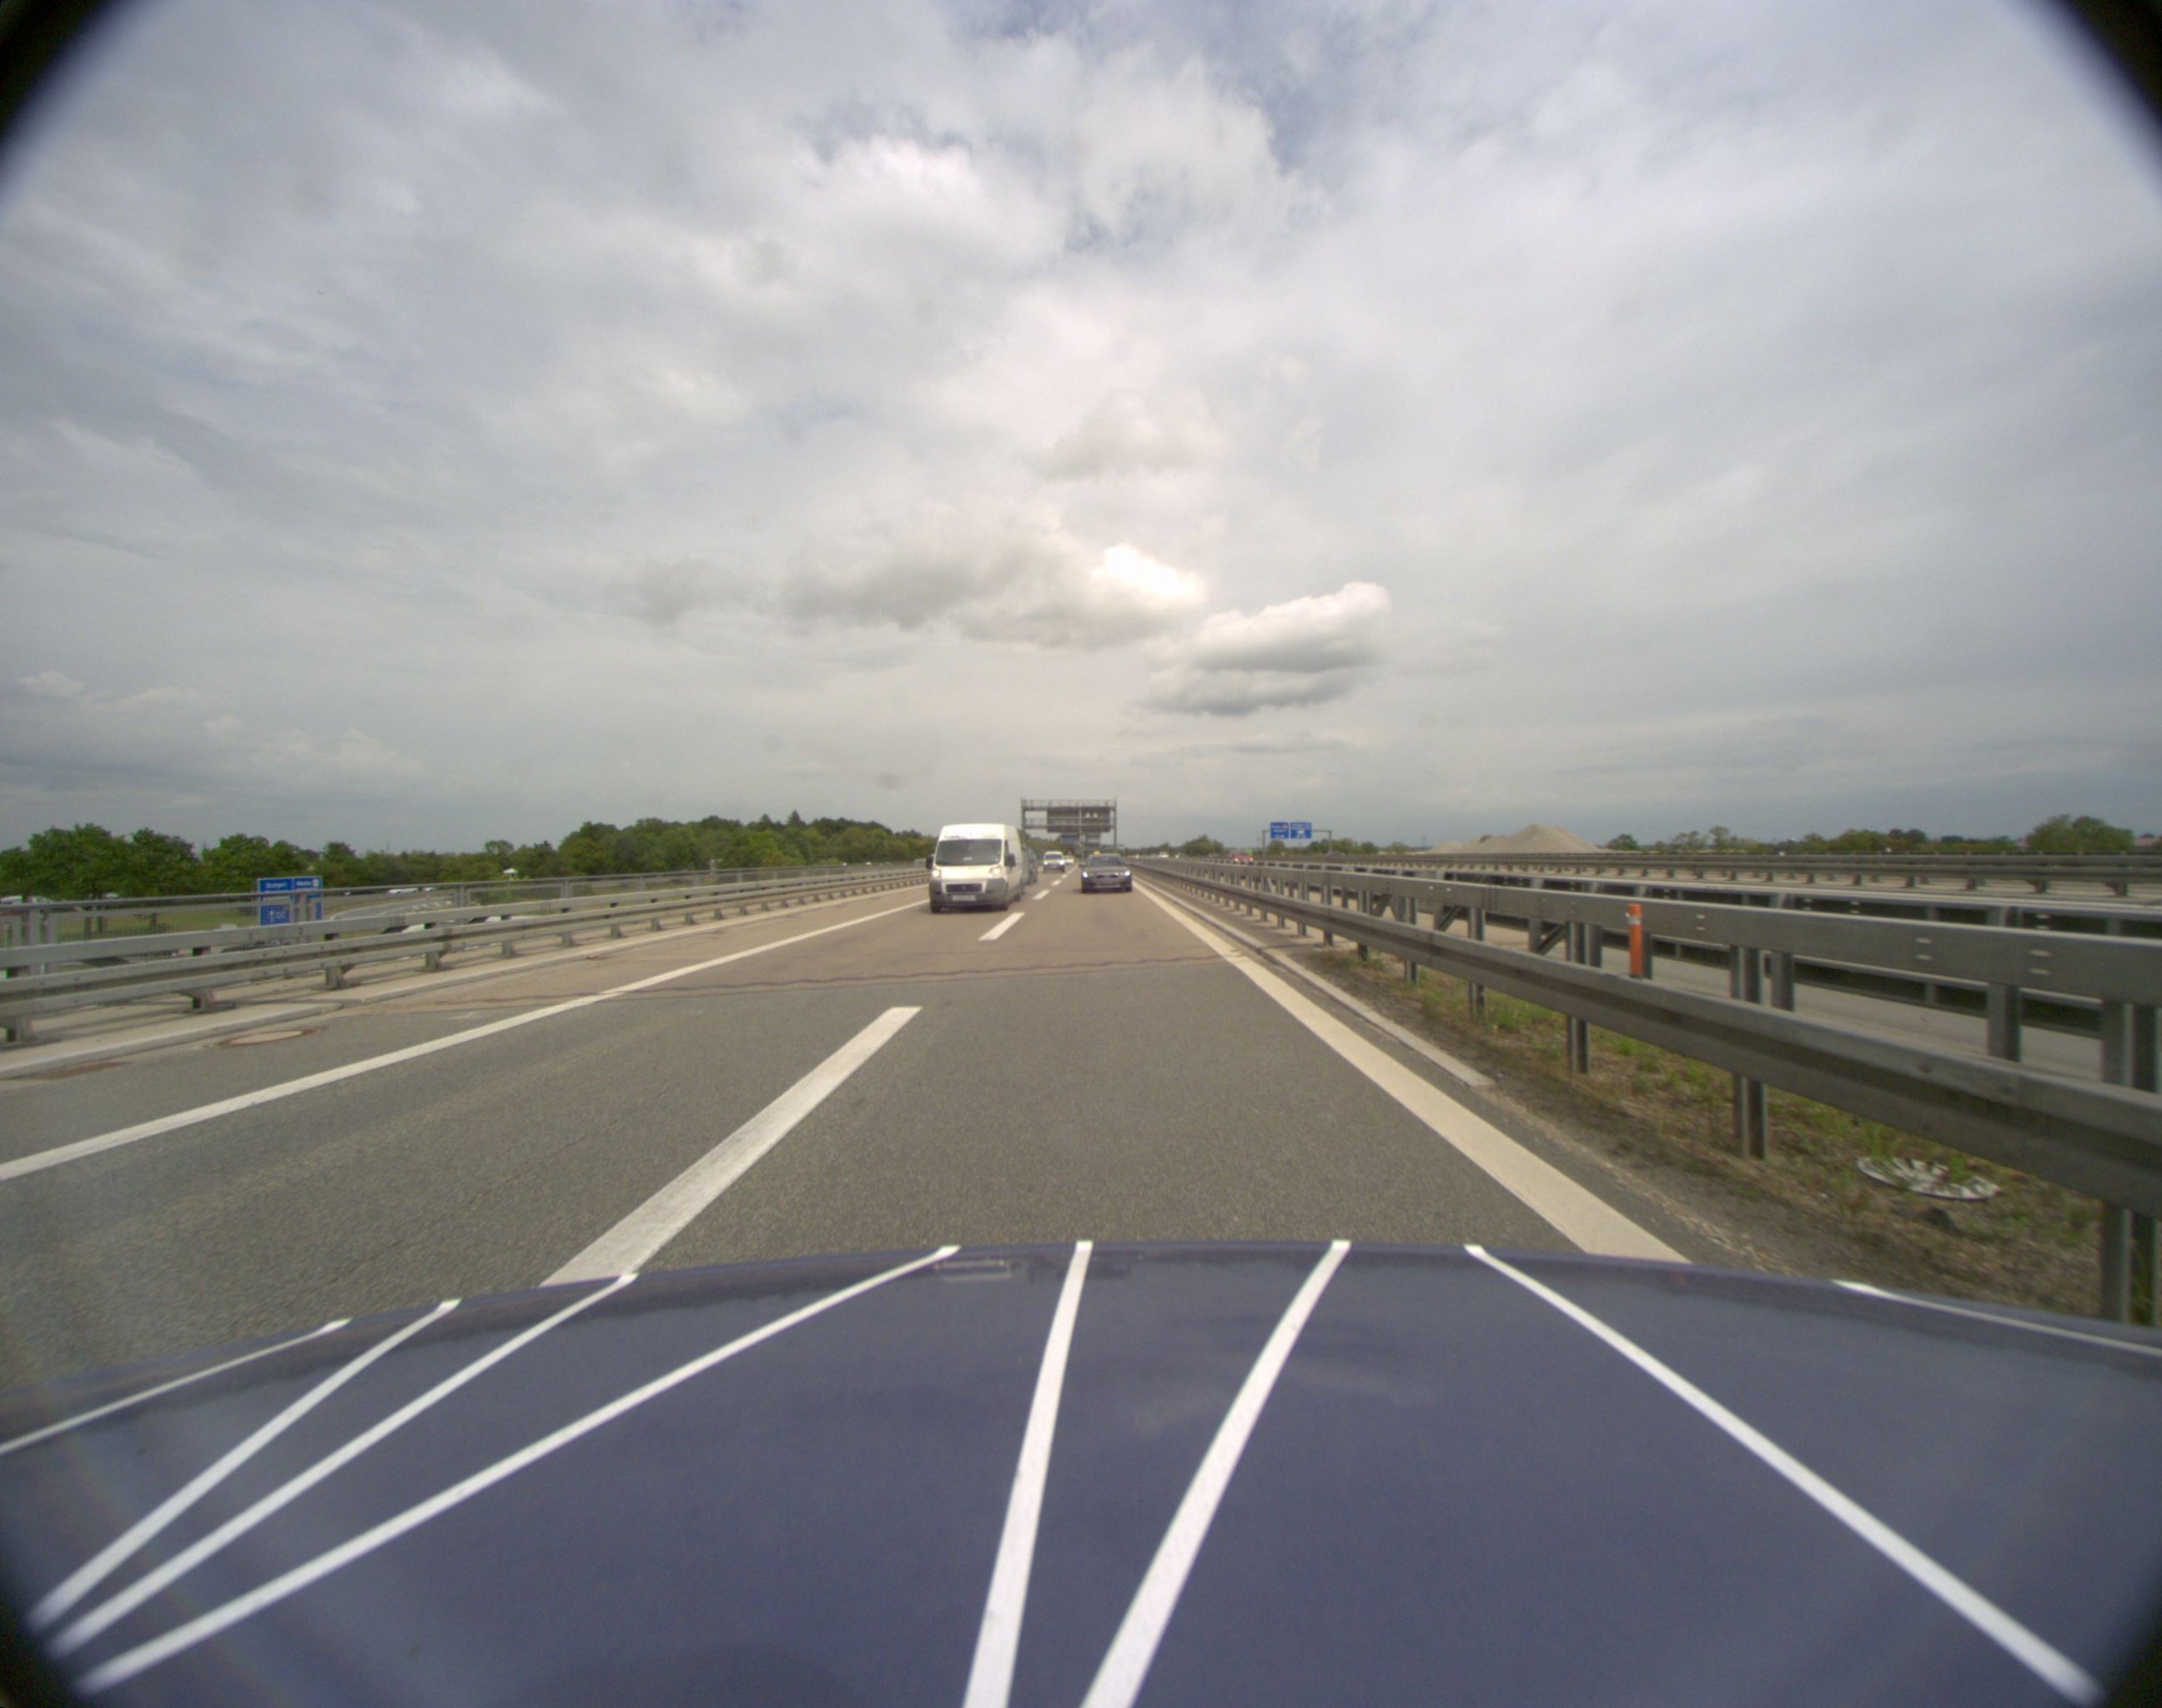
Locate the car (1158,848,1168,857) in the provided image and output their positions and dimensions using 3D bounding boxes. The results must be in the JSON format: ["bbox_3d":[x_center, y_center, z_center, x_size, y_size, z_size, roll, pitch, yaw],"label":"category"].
[{"bbox_3d":[19.841,-0.387,184.713,1.998,2.002,4.465,-2,1,1],"label":"car"}]

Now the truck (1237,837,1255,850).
[{"bbox_3d":[48.265,-3.057,222.820,3.020,3.614,10.435,-2,1,1],"label":"truck"}]

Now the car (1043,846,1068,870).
[{"bbox_3d":[-2.077,0.336,64.076,1.846,1.871,4.288,-2,1,1],"label":"car"}]

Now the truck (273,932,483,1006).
[{"bbox_3d":[-51.095,8.278,55.675,10.790,4.048,3.236,-2,1,-17],"label":"truck"}]

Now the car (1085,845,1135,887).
[{"bbox_3d":[1.062,0.400,28.860,1.747,1.381,3.999,-2,2,1],"label":"car"}]

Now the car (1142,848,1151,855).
[{"bbox_3d":[17.406,-0.714,201.703,1.999,1.740,3.999,-2,1,-1],"label":"car"}]

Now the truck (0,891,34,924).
[{"bbox_3d":[-145.991,7.304,101.480,3.155,4.163,6.451,-1,2,22],"label":"truck"}]

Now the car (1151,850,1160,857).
[{"bbox_3d":[21.352,-0.174,218.319,1.999,1.871,3.999,-2,1,-1],"label":"car"}]

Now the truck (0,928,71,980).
[{"bbox_3d":[-75.484,7.027,52.163,7.570,3.178,2.229,-2,1,-13],"label":"truck"}]

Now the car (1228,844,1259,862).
[{"bbox_3d":[15.109,-0.102,70.899,1.824,1.537,4.354,-2,1,-1],"label":"car"}]

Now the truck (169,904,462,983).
[{"bbox_3d":[-60.055,6.908,60.434,16.184,4.674,3.987,-2,2,-17],"label":"truck"}]

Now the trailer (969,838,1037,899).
[{"bbox_3d":[-2.749,0.459,27.722,1.859,2.002,4.631,-2,1,1],"label":"trailer"}]

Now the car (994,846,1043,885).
[{"bbox_3d":[-3.089,0.524,38.211,1.998,1.783,4.000,-2,1,1],"label":"car"}]

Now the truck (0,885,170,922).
[{"bbox_3d":[-142.937,7.026,109.323,3.079,4.066,14.752,-2,1,21],"label":"truck"}]

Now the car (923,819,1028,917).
[{"bbox_3d":[-2.899,0.326,22.513,2.119,2.440,6.151,-2,1,0],"label":"car"}]

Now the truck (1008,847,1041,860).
[{"bbox_3d":[-18.751,-0.210,253.979,11.814,3.836,2.839,-3,1,-43],"label":"truck"}]
